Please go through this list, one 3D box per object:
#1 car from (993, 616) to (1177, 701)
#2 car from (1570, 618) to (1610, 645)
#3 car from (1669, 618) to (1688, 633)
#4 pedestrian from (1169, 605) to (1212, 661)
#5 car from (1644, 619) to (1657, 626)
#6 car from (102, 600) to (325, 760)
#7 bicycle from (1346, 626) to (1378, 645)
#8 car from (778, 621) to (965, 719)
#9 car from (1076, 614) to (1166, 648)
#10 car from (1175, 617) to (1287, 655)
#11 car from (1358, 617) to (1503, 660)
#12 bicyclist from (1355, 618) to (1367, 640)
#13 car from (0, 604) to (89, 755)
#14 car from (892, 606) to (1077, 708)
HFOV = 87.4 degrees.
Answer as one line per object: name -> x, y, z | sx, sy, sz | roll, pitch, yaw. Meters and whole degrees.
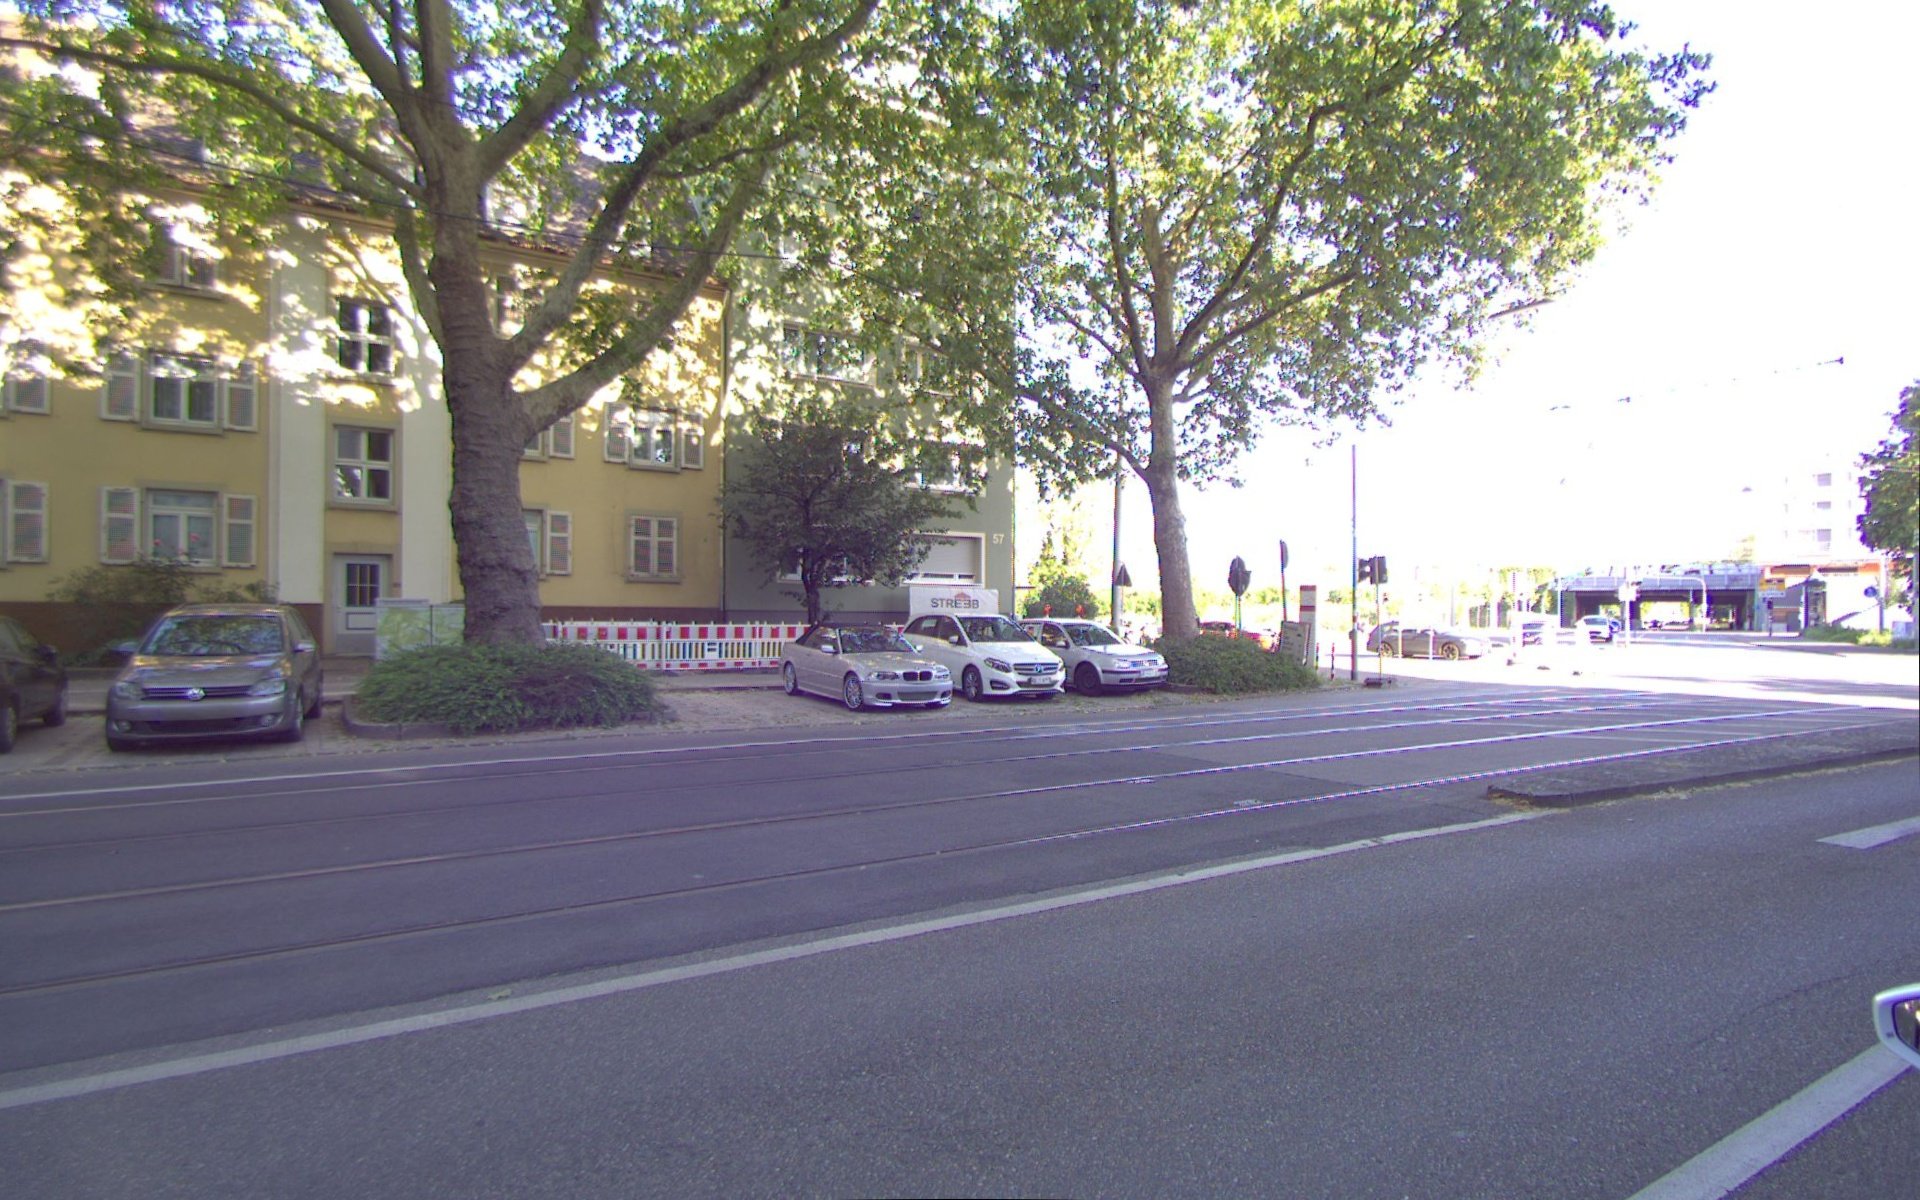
car -> 2.444, 1.111, 20.532 | 1.651, 1.473, 3.949 | 1, 0, -31
car -> 41.141, 2.034, 65.549 | 1.860, 1.606, 3.823 | 2, 0, 37
car -> 83.508, 2.983, 116.679 | 1.731, 1.706, 3.729 | 2, 0, 36
pedestrian -> 7.040, 0.995, 30.700 | 0.919, 1.669, 0.841 | 2, 0, -30
car -> 118.820, 3.847, 172.811 | 1.555, 1.277, 3.421 | 0, -1, 30
car -> -8.996, 0.832, 12.419 | 1.652, 1.602, 3.953 | 1, 0, -29
bicycle -> 22.240, 1.956, 55.547 | 1.545, 0.995, 0.528 | 0, 0, 5
car -> -1.647, 1.109, 17.313 | 1.651, 1.370, 3.949 | 1, 0, -31
car -> 8.340, 1.559, 51.977 | 4.126, 1.572, 1.991 | 2, 0, 35
car -> 12.098, 1.561, 44.908 | 4.418, 1.586, 2.016 | 0, -1, 36
car -> 17.728, 1.402, 38.083 | 1.919, 1.493, 4.696 | 1, -1, -34
bicyclist -> 22.183, 1.599, 55.556 | 0.519, 1.239, 0.528 | 0, 0, 7
car -> -11.462, 0.833, 11.387 | 1.652, 1.518, 3.778 | 1, 0, -30
car -> 0.353, 0.984, 19.158 | 1.651, 1.669, 3.949 | 1, 0, -31
